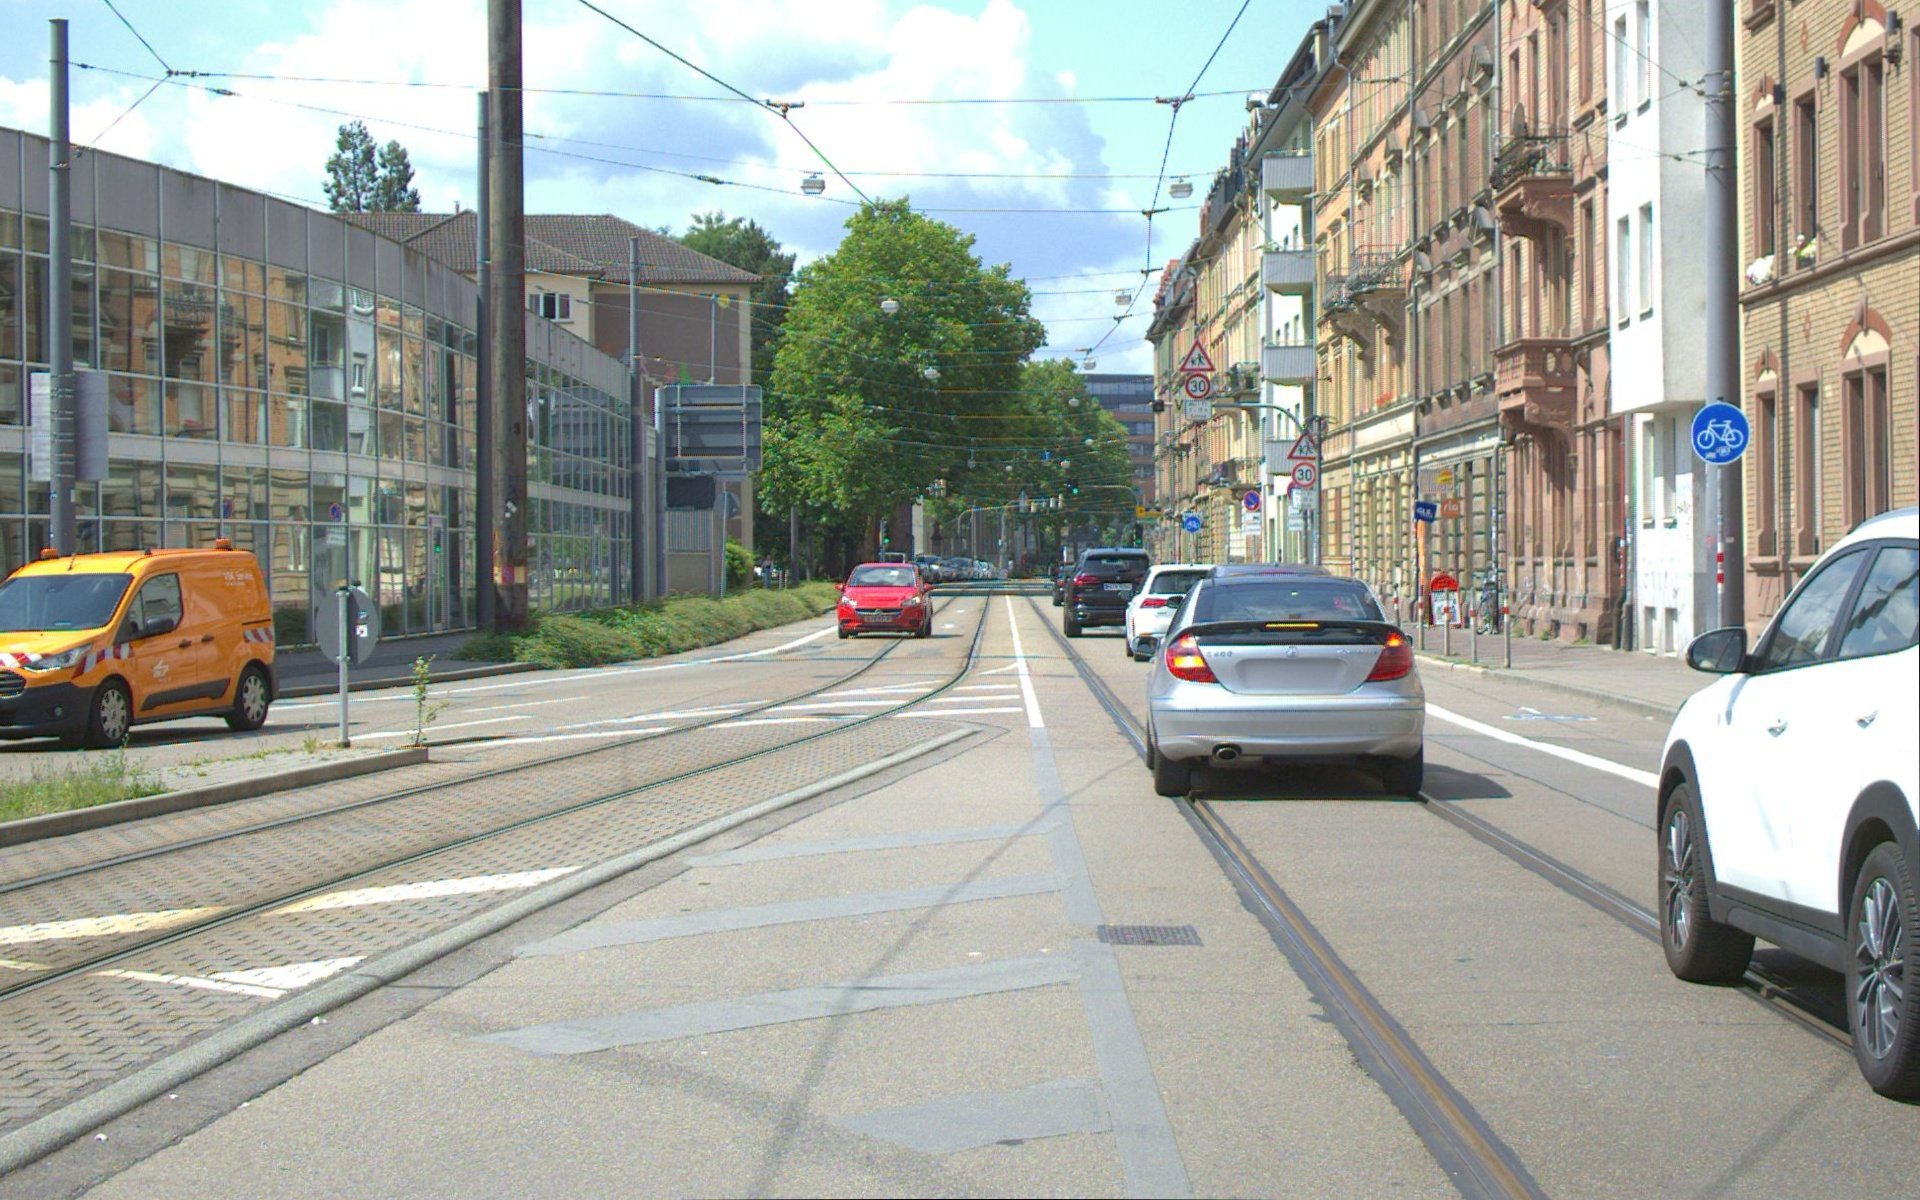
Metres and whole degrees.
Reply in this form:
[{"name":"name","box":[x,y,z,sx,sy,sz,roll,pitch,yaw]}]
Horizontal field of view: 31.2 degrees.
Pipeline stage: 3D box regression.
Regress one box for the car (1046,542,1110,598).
[{"name":"car","box":[3.985,-1.030,116.518,1.993,1.853,4.000,-1,1,-1]}]

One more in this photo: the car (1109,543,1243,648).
[{"name":"car","box":[3.226,-0.090,52.005,1.814,1.519,3.955,0,1,1]}]

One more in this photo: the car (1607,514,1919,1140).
[{"name":"car","box":[3.368,0.552,10.568,1.852,1.628,4.181,-1,1,-2]}]

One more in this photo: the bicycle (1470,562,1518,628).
[{"name":"bicycle","box":[9.802,-0.108,63.124,0.586,1.174,2.205,-1,1,2]}]

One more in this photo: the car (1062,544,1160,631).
[{"name":"car","box":[2.980,-0.250,68.542,1.814,1.656,4.085,-1,0,1]}]

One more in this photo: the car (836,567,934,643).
[{"name":"car","box":[-1.442,0.083,67.355,1.702,1.423,3.902,0,0,2]}]

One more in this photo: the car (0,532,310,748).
[{"name":"car","box":[-8.033,0.327,32.214,1.912,1.859,4.364,-2,1,18]}]

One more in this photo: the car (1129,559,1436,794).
[{"name":"car","box":[2.058,0.454,22.954,1.814,1.415,4.187,0,0,2]}]

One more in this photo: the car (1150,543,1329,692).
[{"name":"car","box":[3.012,0.152,37.730,1.814,1.519,4.085,-1,1,3]}]

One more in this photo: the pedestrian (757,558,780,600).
[{"name":"pedestrian","box":[-8.592,-0.964,154.387,0.880,1.859,1.081,-1,1,1]}]
